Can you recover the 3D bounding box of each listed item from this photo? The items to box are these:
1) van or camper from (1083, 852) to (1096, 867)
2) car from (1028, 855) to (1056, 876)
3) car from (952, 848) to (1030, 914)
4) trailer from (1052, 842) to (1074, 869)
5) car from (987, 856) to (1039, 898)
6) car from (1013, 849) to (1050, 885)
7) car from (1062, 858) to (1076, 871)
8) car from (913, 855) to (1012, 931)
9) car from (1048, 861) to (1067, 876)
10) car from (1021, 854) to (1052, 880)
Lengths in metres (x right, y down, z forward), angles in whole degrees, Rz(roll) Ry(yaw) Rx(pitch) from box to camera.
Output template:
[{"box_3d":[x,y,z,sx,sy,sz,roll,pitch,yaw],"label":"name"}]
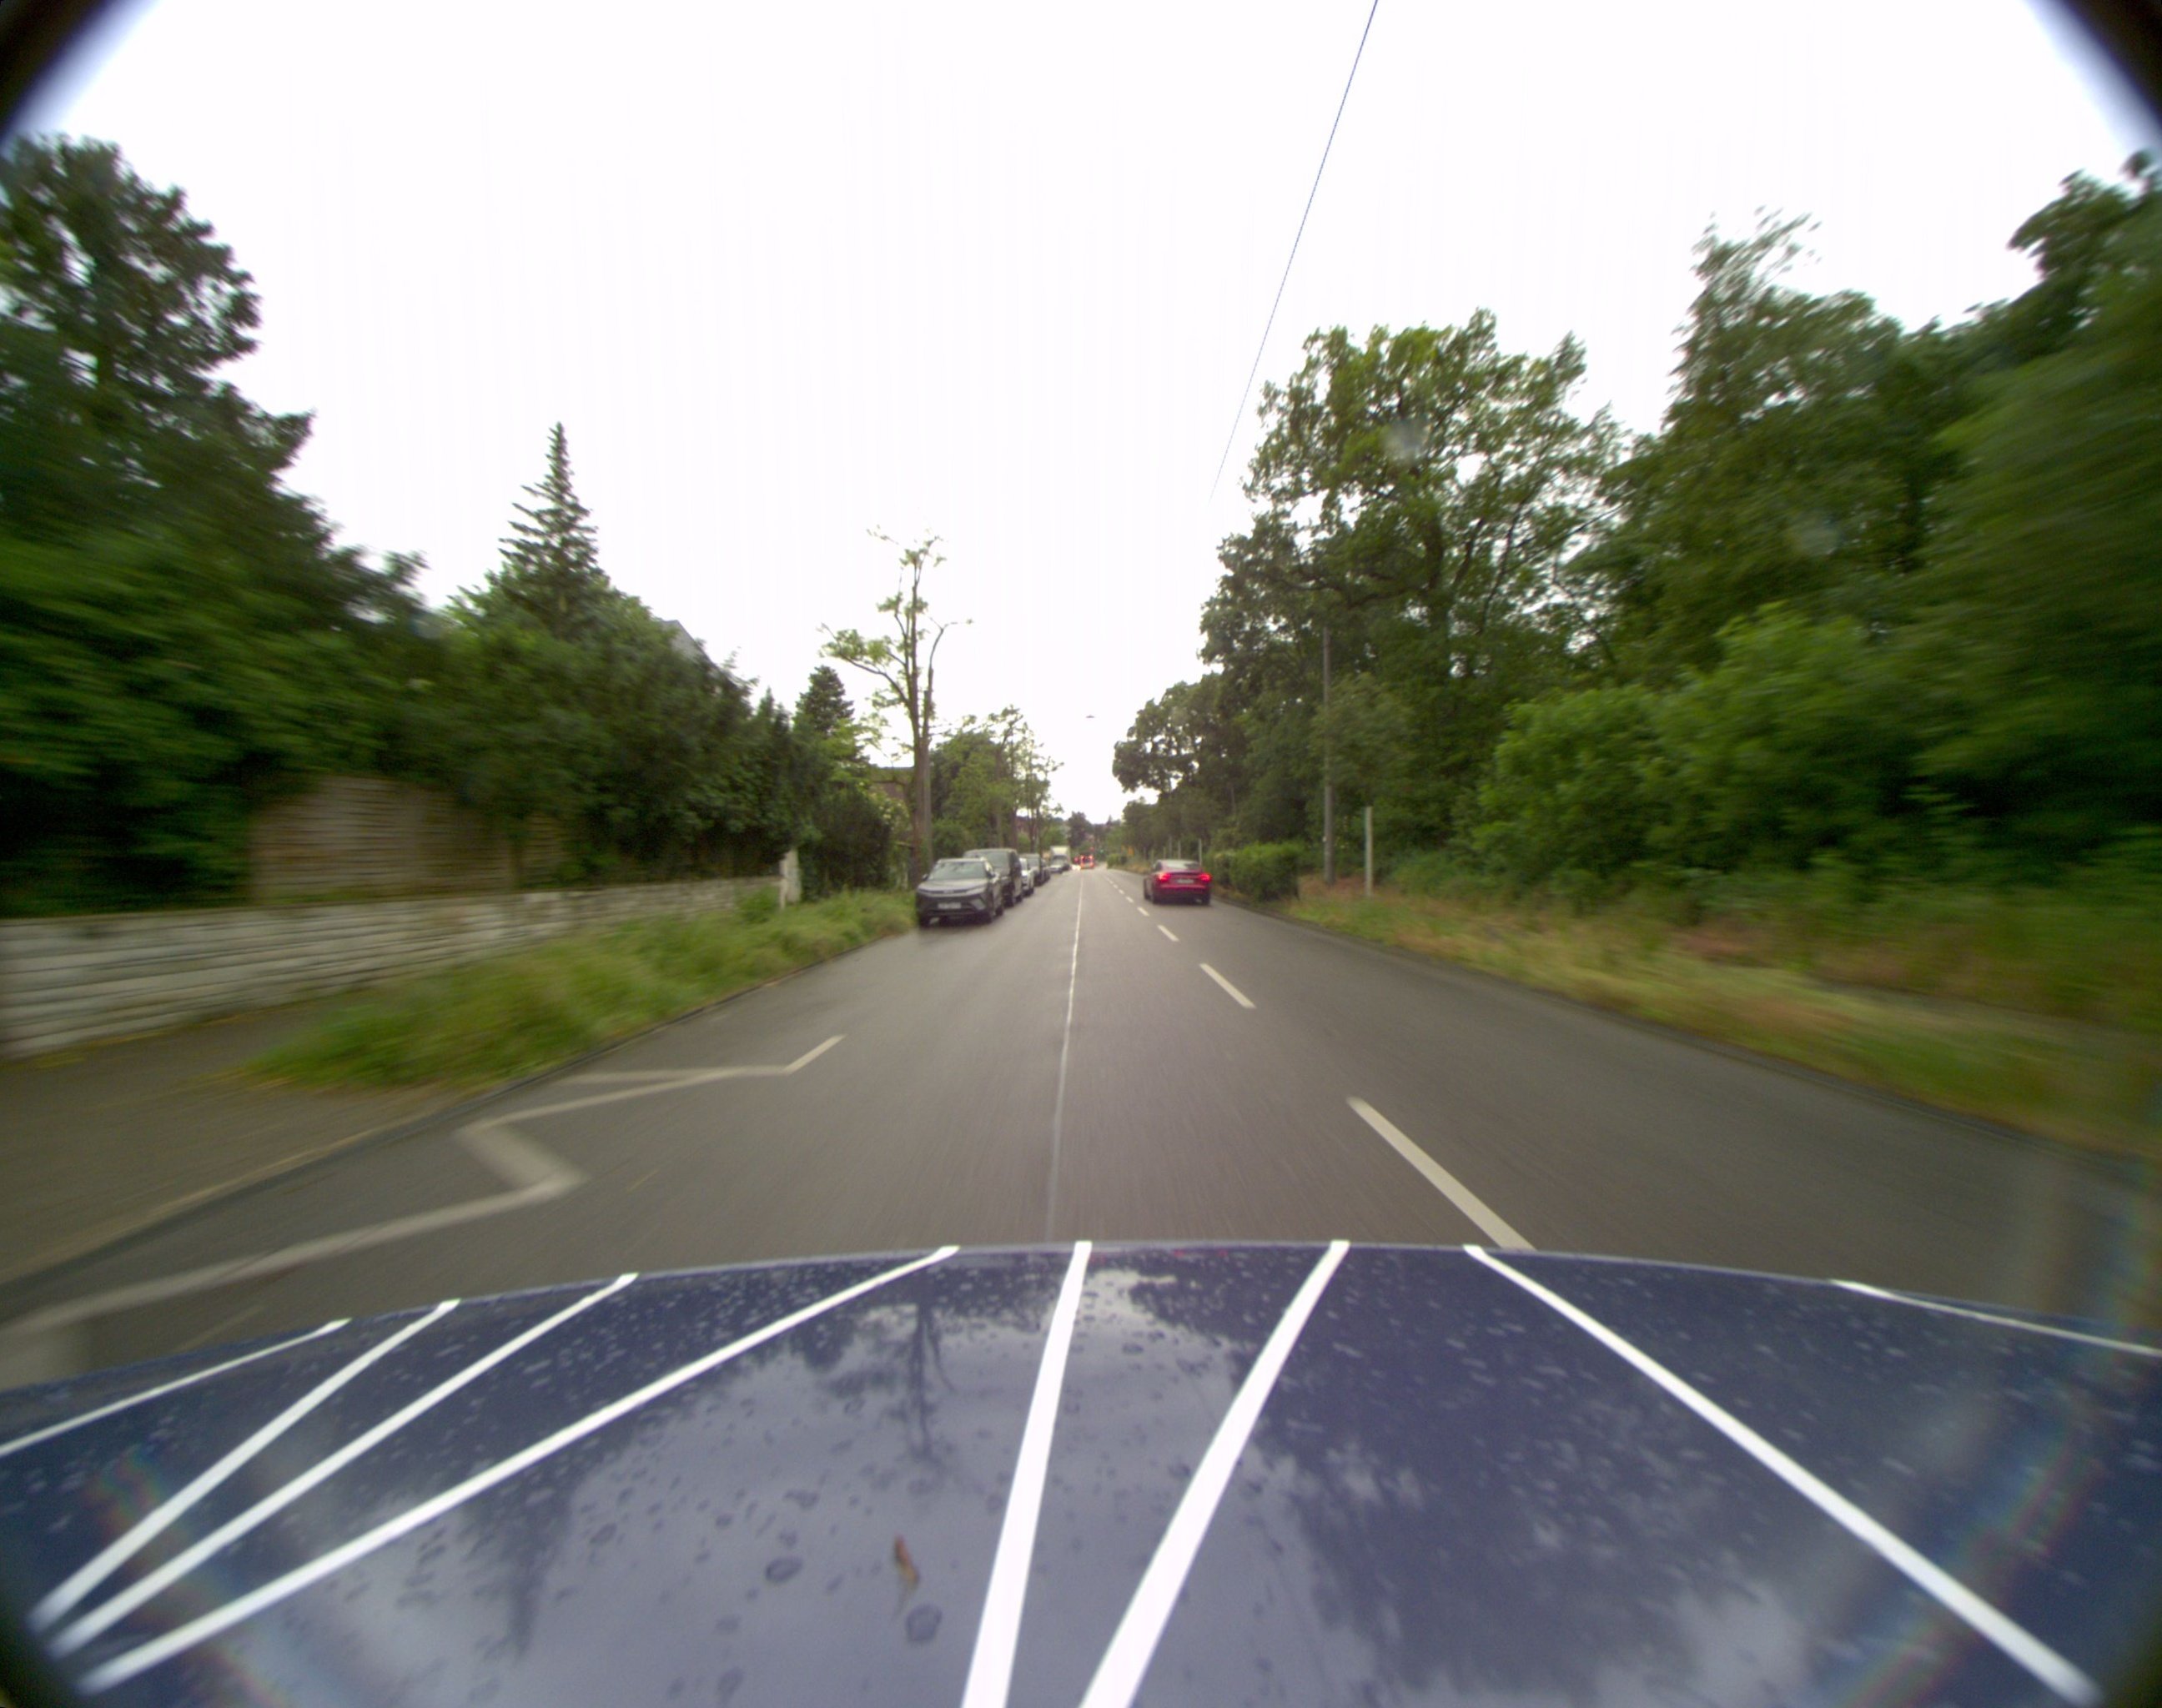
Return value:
[{"box_3d":[2.025,1.316,180.739,2.862,3.159,6.852,-2,0,3],"label":"van or camper"},{"box_3d":[-2.774,0.823,55.004,1.742,1.456,3.725,-2,0,0],"label":"car"},{"box_3d":[-3.026,0.870,26.568,1.998,2.001,4.888,-2,0,1],"label":"car"},{"box_3d":[-2.424,0.249,104.127,2.741,3.487,8.247,-2,0,0],"label":"trailer"},{"box_3d":[-2.865,0.957,32.806,1.809,1.603,4.286,-2,0,0],"label":"car"},{"box_3d":[-2.768,0.720,43.107,1.734,1.836,4.230,-2,0,1],"label":"car"},{"box_3d":[-1.436,1.282,93.459,1.645,1.455,4.000,-2,0,0],"label":"car"},{"box_3d":[-2.974,0.927,19.987,1.778,1.712,4.327,-2,0,1],"label":"car"},{"box_3d":[-2.313,1.447,75.769,1.786,1.387,4.000,-2,0,-1],"label":"car"},{"box_3d":[-2.820,0.851,49.264,1.683,1.546,4.076,-2,0,1],"label":"car"}]
